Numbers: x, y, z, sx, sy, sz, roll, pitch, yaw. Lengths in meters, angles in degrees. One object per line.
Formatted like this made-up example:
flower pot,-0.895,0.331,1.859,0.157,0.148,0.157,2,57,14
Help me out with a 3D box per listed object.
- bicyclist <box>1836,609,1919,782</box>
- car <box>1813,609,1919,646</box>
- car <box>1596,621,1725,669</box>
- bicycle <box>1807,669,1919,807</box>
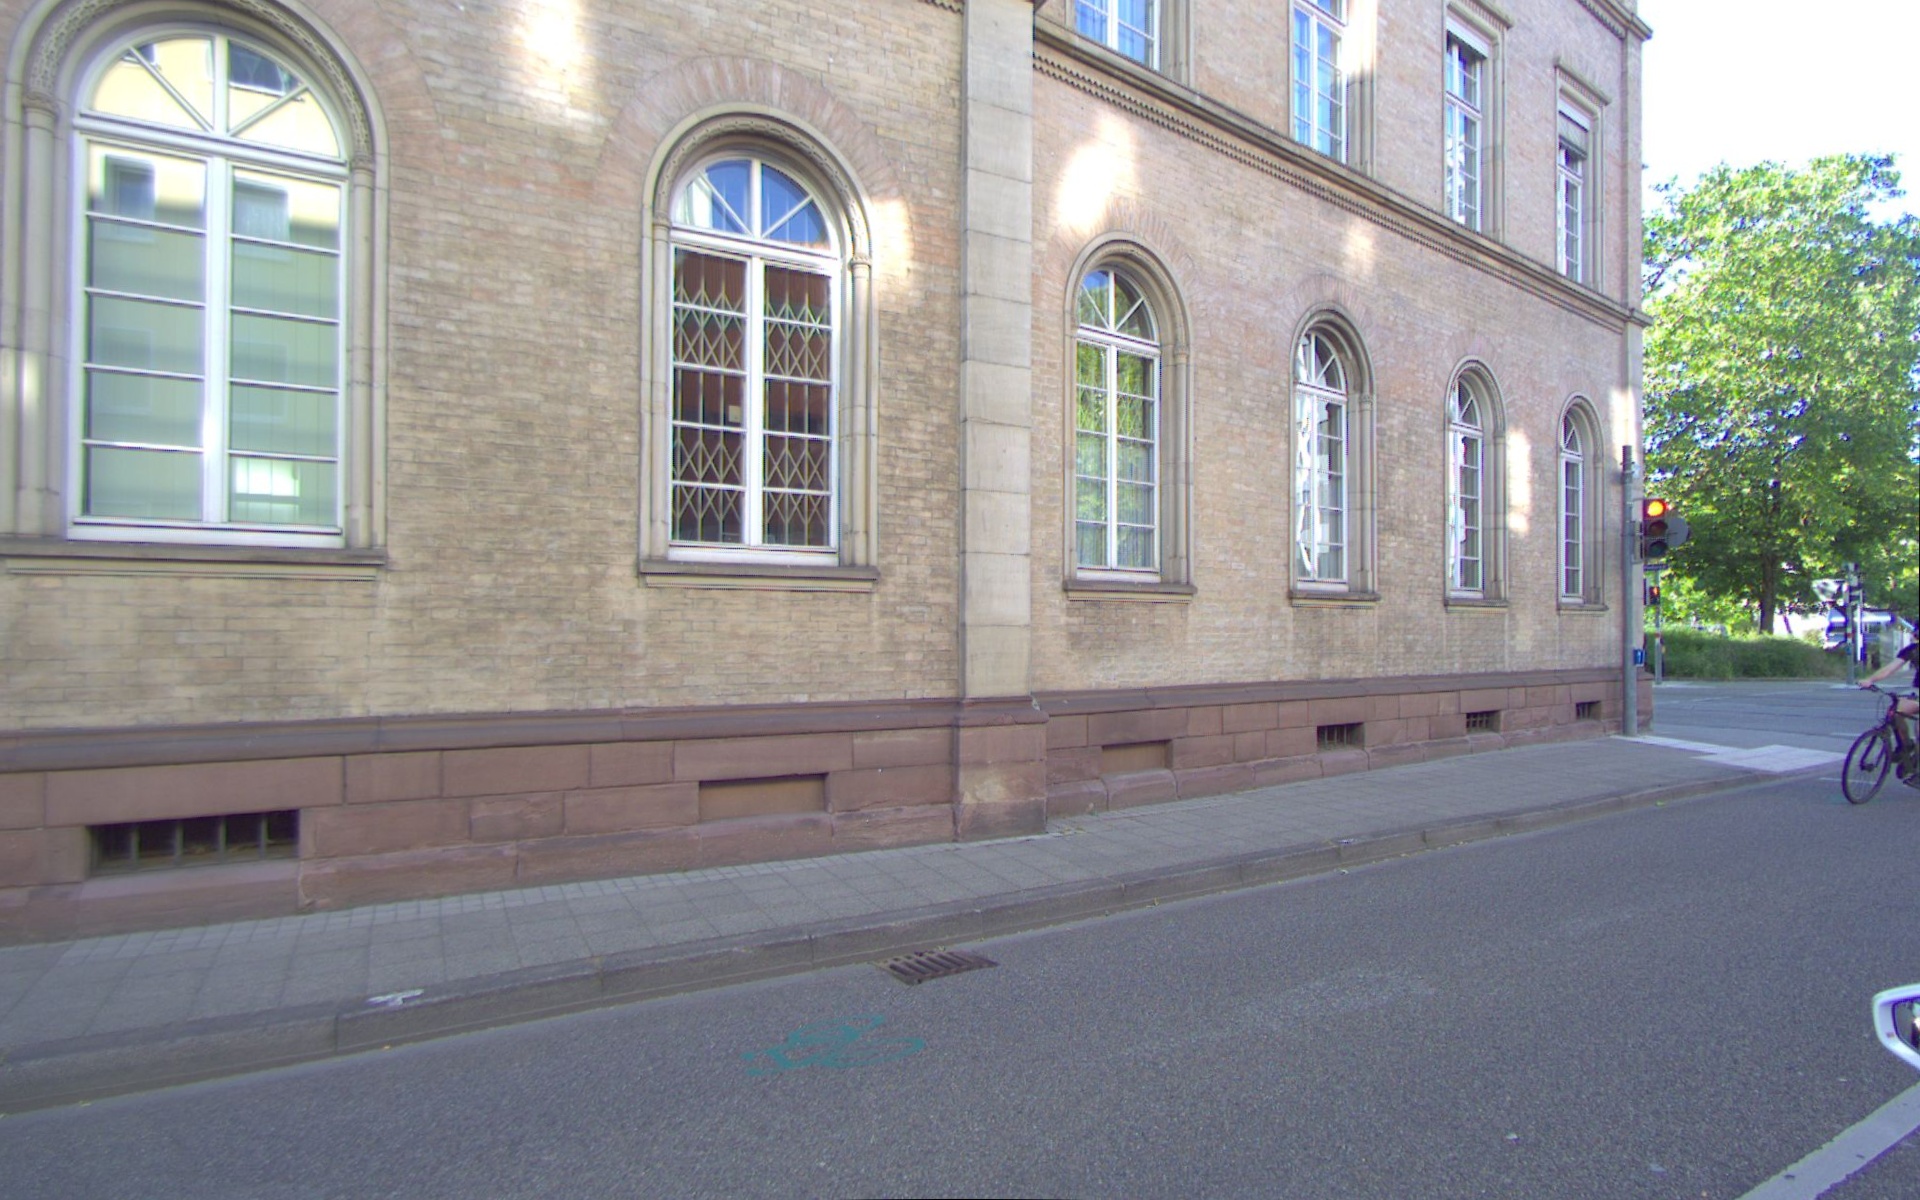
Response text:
bicyclist,8.916,0.864,9.426,1.062,1.547,0.590,1,-1,-19
car,53.510,1.610,59.397,1.983,2.040,4.409,2,0,-38
car,24.388,1.522,35.037,1.636,1.476,3.382,2,0,-39
bicycle,8.911,1.247,9.409,1.939,1.167,0.590,1,-1,-19
